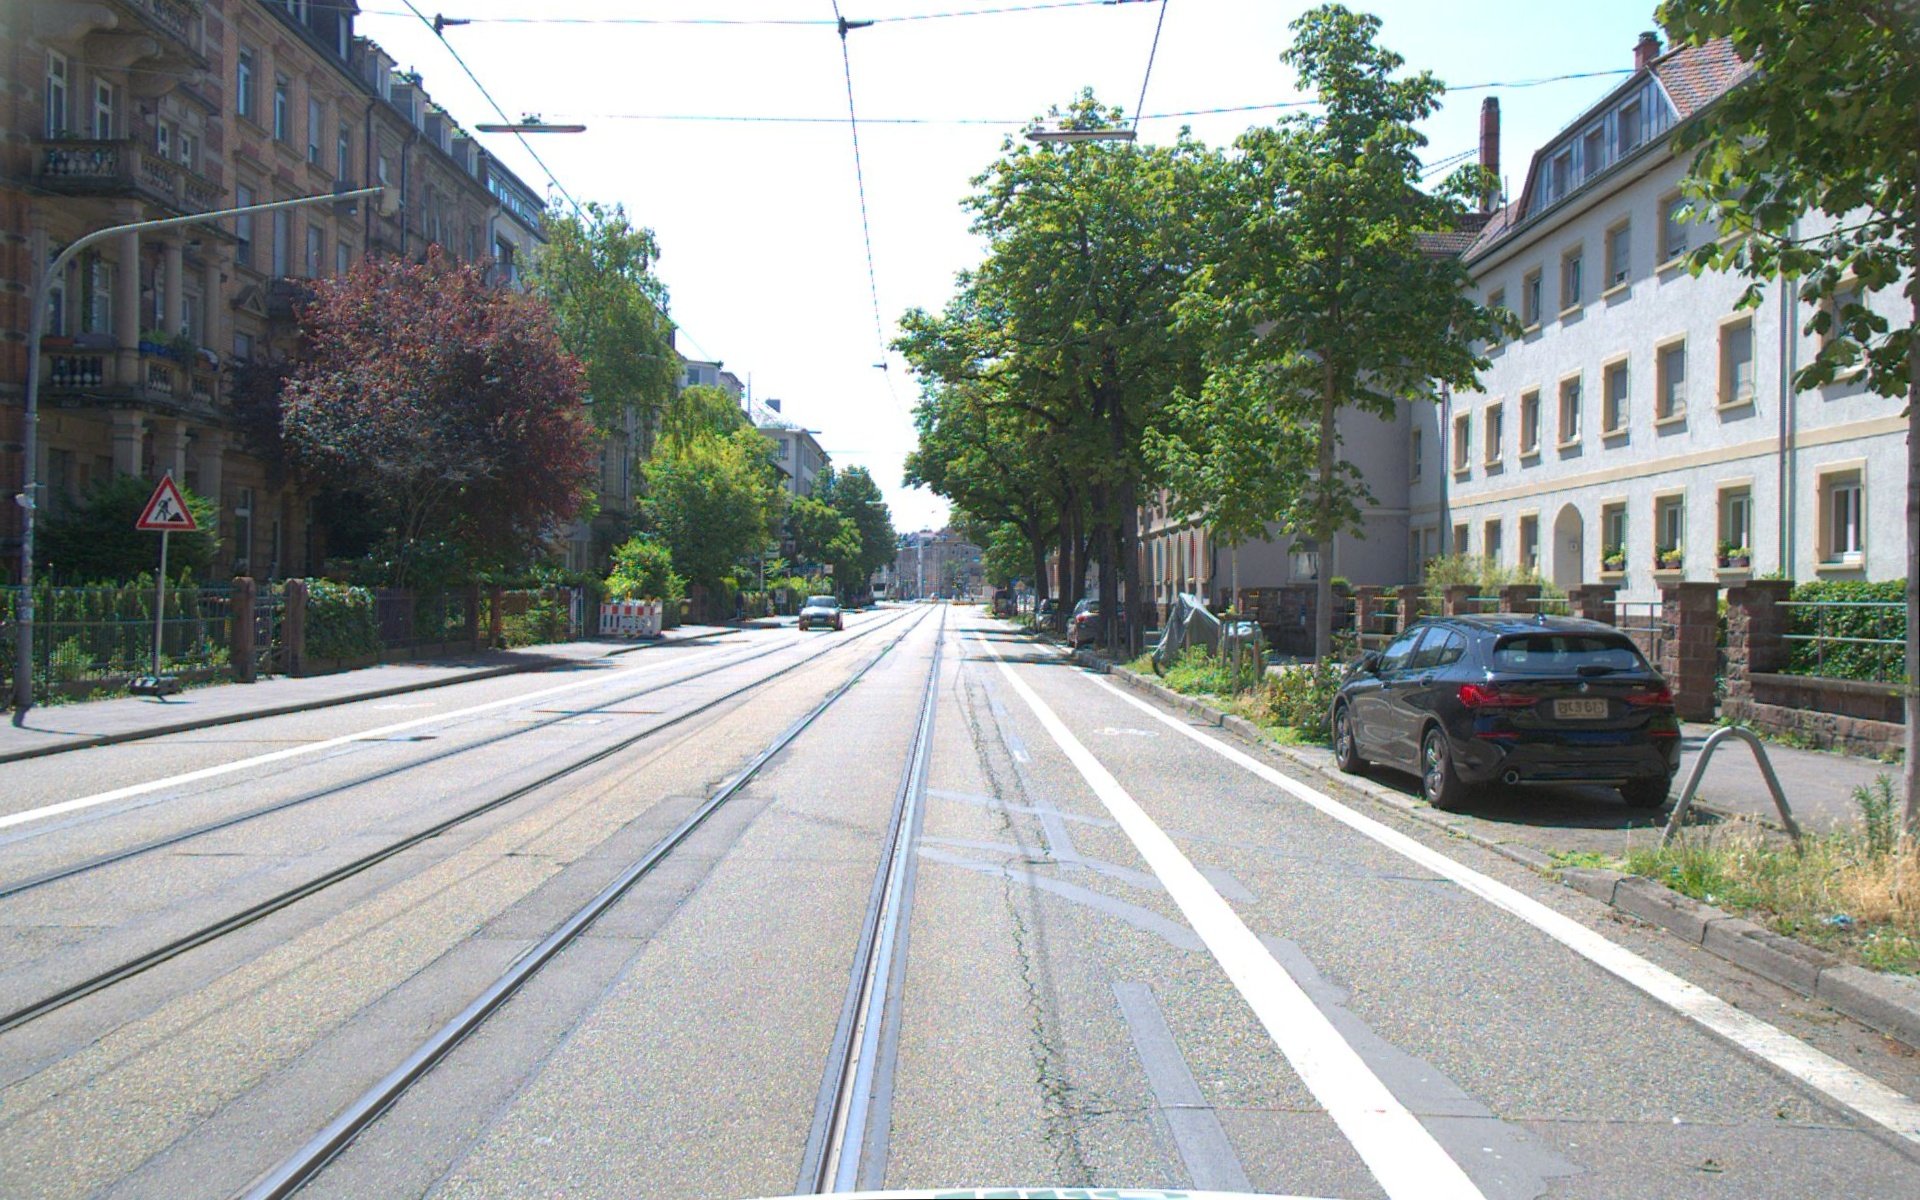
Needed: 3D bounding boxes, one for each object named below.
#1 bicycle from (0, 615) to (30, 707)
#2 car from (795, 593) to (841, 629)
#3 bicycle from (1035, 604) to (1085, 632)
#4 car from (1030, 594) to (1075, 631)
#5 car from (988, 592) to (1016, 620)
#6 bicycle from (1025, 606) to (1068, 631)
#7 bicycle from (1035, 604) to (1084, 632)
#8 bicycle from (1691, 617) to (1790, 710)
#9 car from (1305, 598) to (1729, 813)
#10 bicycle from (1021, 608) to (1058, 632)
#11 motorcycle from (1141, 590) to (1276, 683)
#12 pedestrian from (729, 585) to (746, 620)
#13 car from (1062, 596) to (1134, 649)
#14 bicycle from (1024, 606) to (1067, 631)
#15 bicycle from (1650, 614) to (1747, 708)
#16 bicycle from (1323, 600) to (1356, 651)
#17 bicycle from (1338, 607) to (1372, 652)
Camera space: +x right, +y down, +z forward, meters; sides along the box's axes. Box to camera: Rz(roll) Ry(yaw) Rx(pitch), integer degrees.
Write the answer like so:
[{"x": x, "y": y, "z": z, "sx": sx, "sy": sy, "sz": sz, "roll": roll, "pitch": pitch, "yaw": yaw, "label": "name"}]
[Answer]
[{"x": -11.006, "y": 0.693, "z": 18.360, "sx": 0.445, "sy": 1.021, "sz": 1.805, "roll": 1, "pitch": 0, "yaw": -4, "label": "bicycle"}, {"x": -6.020, "y": 0.454, "z": 70.190, "sx": 1.652, "sy": 1.480, "sz": 3.747, "roll": 1, "pitch": 0, "yaw": -1, "label": "car"}, {"x": 3.947, "y": 0.713, "z": 65.351, "sx": 1.921, "sy": 1.082, "sz": 0.599, "roll": 1, "pitch": -1, "yaw": 6, "label": "bicycle"}, {"x": 3.872, "y": 0.518, "z": 69.662, "sx": 1.589, "sy": 1.473, "sz": 3.809, "roll": -2, "pitch": 0, "yaw": -1, "label": "car"}, {"x": 3.224, "y": 0.444, "z": 126.555, "sx": 1.952, "sy": 2.071, "sz": 4.696, "roll": 1, "pitch": 0, "yaw": -1, "label": "car"}, {"x": 3.881, "y": 0.839, "z": 74.136, "sx": 1.922, "sy": 1.133, "sz": 0.599, "roll": 0, "pitch": -1, "yaw": 1, "label": "bicycle"}, {"x": 3.911, "y": 0.719, "z": 64.974, "sx": 1.849, "sy": 1.070, "sz": 0.538, "roll": 1, "pitch": -1, "yaw": 6, "label": "bicycle"}, {"x": 10.096, "y": 0.795, "z": 21.453, "sx": 0.488, "sy": 1.121, "sz": 1.807, "roll": 0, "pitch": 0, "yaw": 2, "label": "bicycle"}, {"x": 4.417, "y": 0.743, "z": 14.020, "sx": 1.734, "sy": 1.451, "sz": 4.859, "roll": 1, "pitch": 1, "yaw": -3, "label": "car"}, {"x": 3.798, "y": 0.955, "z": 79.093, "sx": 1.779, "sy": 1.133, "sz": 0.493, "roll": 0, "pitch": -1, "yaw": -1, "label": "bicycle"}, {"x": 4.415, "y": 0.622, "z": 29.470, "sx": 2.280, "sy": 1.567, "sz": 0.864, "roll": 1, "pitch": 0, "yaw": 43, "label": "motorcycle"}, {"x": -10.778, "y": 0.103, "z": 80.143, "sx": 0.736, "sy": 1.657, "sz": 0.833, "roll": 1, "pitch": 0, "yaw": -3, "label": "pedestrian"}, {"x": 4.195, "y": 0.657, "z": 50.917, "sx": 1.738, "sy": 1.527, "sz": 4.304, "roll": 0, "pitch": 0, "yaw": -2, "label": "car"}, {"x": 3.861, "y": 0.841, "z": 74.816, "sx": 1.968, "sy": 1.133, "sz": 0.640, "roll": 0, "pitch": -1, "yaw": 1, "label": "bicycle"}, {"x": 9.429, "y": 0.759, "z": 21.172, "sx": 0.488, "sy": 1.121, "sz": 1.807, "roll": 0, "pitch": 0, "yaw": 2, "label": "bicycle"}, {"x": 9.269, "y": 0.621, "z": 40.402, "sx": 0.450, "sy": 1.212, "sz": 1.564, "roll": 0, "pitch": 0, "yaw": 0, "label": "bicycle"}, {"x": 9.638, "y": 0.708, "z": 40.412, "sx": 0.450, "sy": 1.074, "sz": 1.564, "roll": 0, "pitch": 0, "yaw": 0, "label": "bicycle"}]
